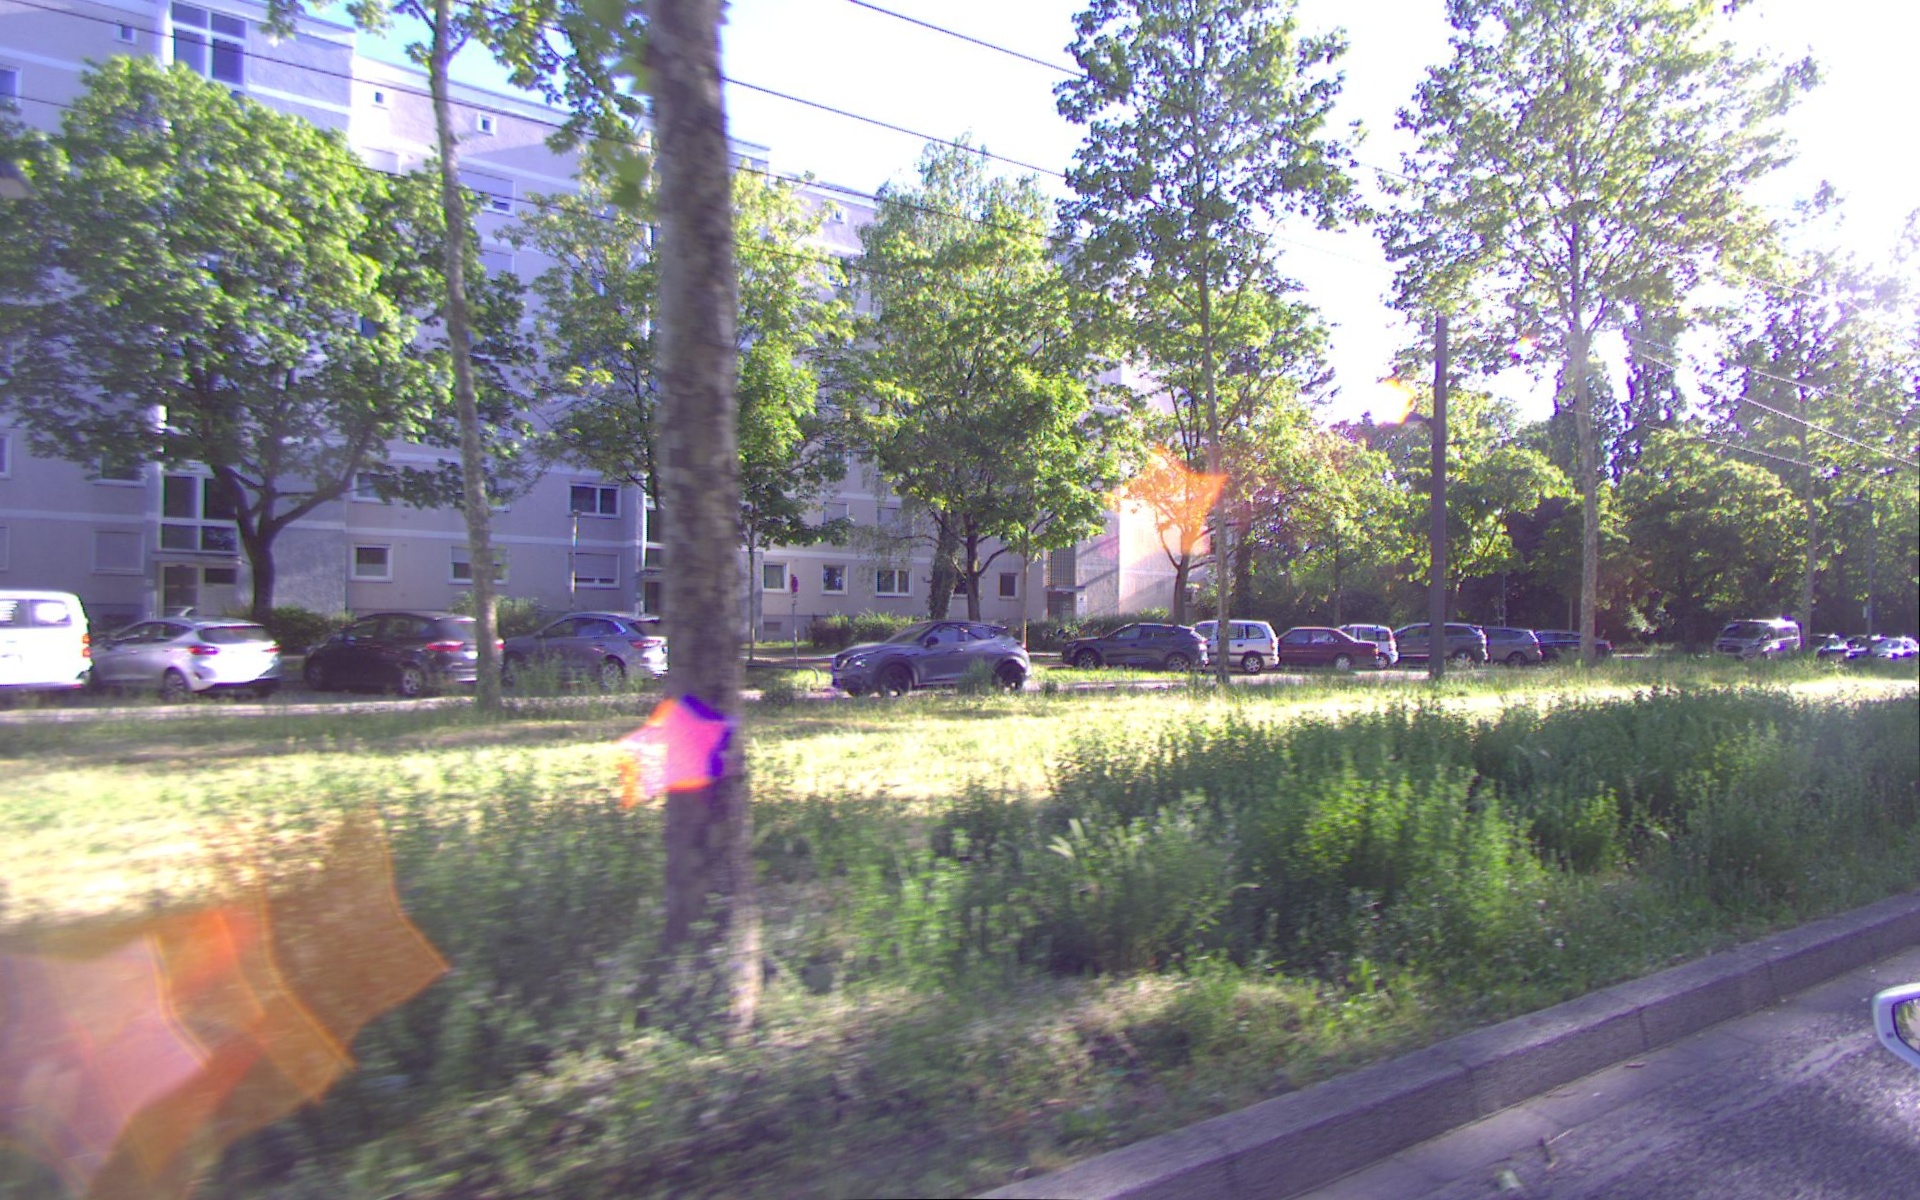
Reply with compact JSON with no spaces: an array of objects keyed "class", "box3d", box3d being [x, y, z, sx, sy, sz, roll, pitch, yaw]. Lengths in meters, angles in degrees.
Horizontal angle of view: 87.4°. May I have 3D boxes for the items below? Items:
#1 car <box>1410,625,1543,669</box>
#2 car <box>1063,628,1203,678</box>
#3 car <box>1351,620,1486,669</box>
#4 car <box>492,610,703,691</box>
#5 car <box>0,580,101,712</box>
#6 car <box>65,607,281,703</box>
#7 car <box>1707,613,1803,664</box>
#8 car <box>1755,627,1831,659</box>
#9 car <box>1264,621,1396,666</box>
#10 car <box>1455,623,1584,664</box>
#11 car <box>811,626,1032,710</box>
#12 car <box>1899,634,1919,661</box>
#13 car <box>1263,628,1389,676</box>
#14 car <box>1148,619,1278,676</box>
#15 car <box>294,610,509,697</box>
[{"class":"car","box3d":[20.195,1.810,39.478,4.397,1.589,1.796,0,-1,18]},{"class":"car","box3d":[5.261,1.570,30.399,4.048,1.355,1.796,0,-1,13]},{"class":"car","box3d":[17.095,1.641,37.691,4.397,1.697,1.796,0,-1,18]},{"class":"car","box3d":[-7.948,1.044,22.106,4.004,1.628,1.995,0,0,19]},{"class":"car","box3d":[-16.796,0.695,16.699,4.706,2.033,1.891,0,0,22]},{"class":"car","box3d":[-14.496,0.931,18.472,4.009,1.451,1.577,2,1,27]},{"class":"car","box3d":[37.287,1.833,47.089,4.854,2.121,1.638,3,1,-28]},{"class":"car","box3d":[41.698,2.156,50.256,3.618,1.472,1.638,2,1,-28]},{"class":"car","box3d":[13.378,1.552,36.368,4.401,1.501,1.617,0,-1,24]},{"class":"car","box3d":[23.068,1.765,41.610,4.397,1.589,1.796,0,-1,18]},{"class":"car","box3d":[-0.765,1.343,20.270,4.035,1.526,1.916,1,-4,-29]},{"class":"car","box3d":[55.612,2.762,57.170,3.950,1.472,1.985,2,1,-28]},{"class":"car","box3d":[12.234,1.724,33.828,3.842,1.507,1.796,0,-1,15]},{"class":"car","box3d":[8.171,1.510,32.369,3.900,1.697,1.787,0,-1,20]},{"class":"car","box3d":[-11.161,0.989,20.045,4.009,1.551,1.816,0,0,27]}]
